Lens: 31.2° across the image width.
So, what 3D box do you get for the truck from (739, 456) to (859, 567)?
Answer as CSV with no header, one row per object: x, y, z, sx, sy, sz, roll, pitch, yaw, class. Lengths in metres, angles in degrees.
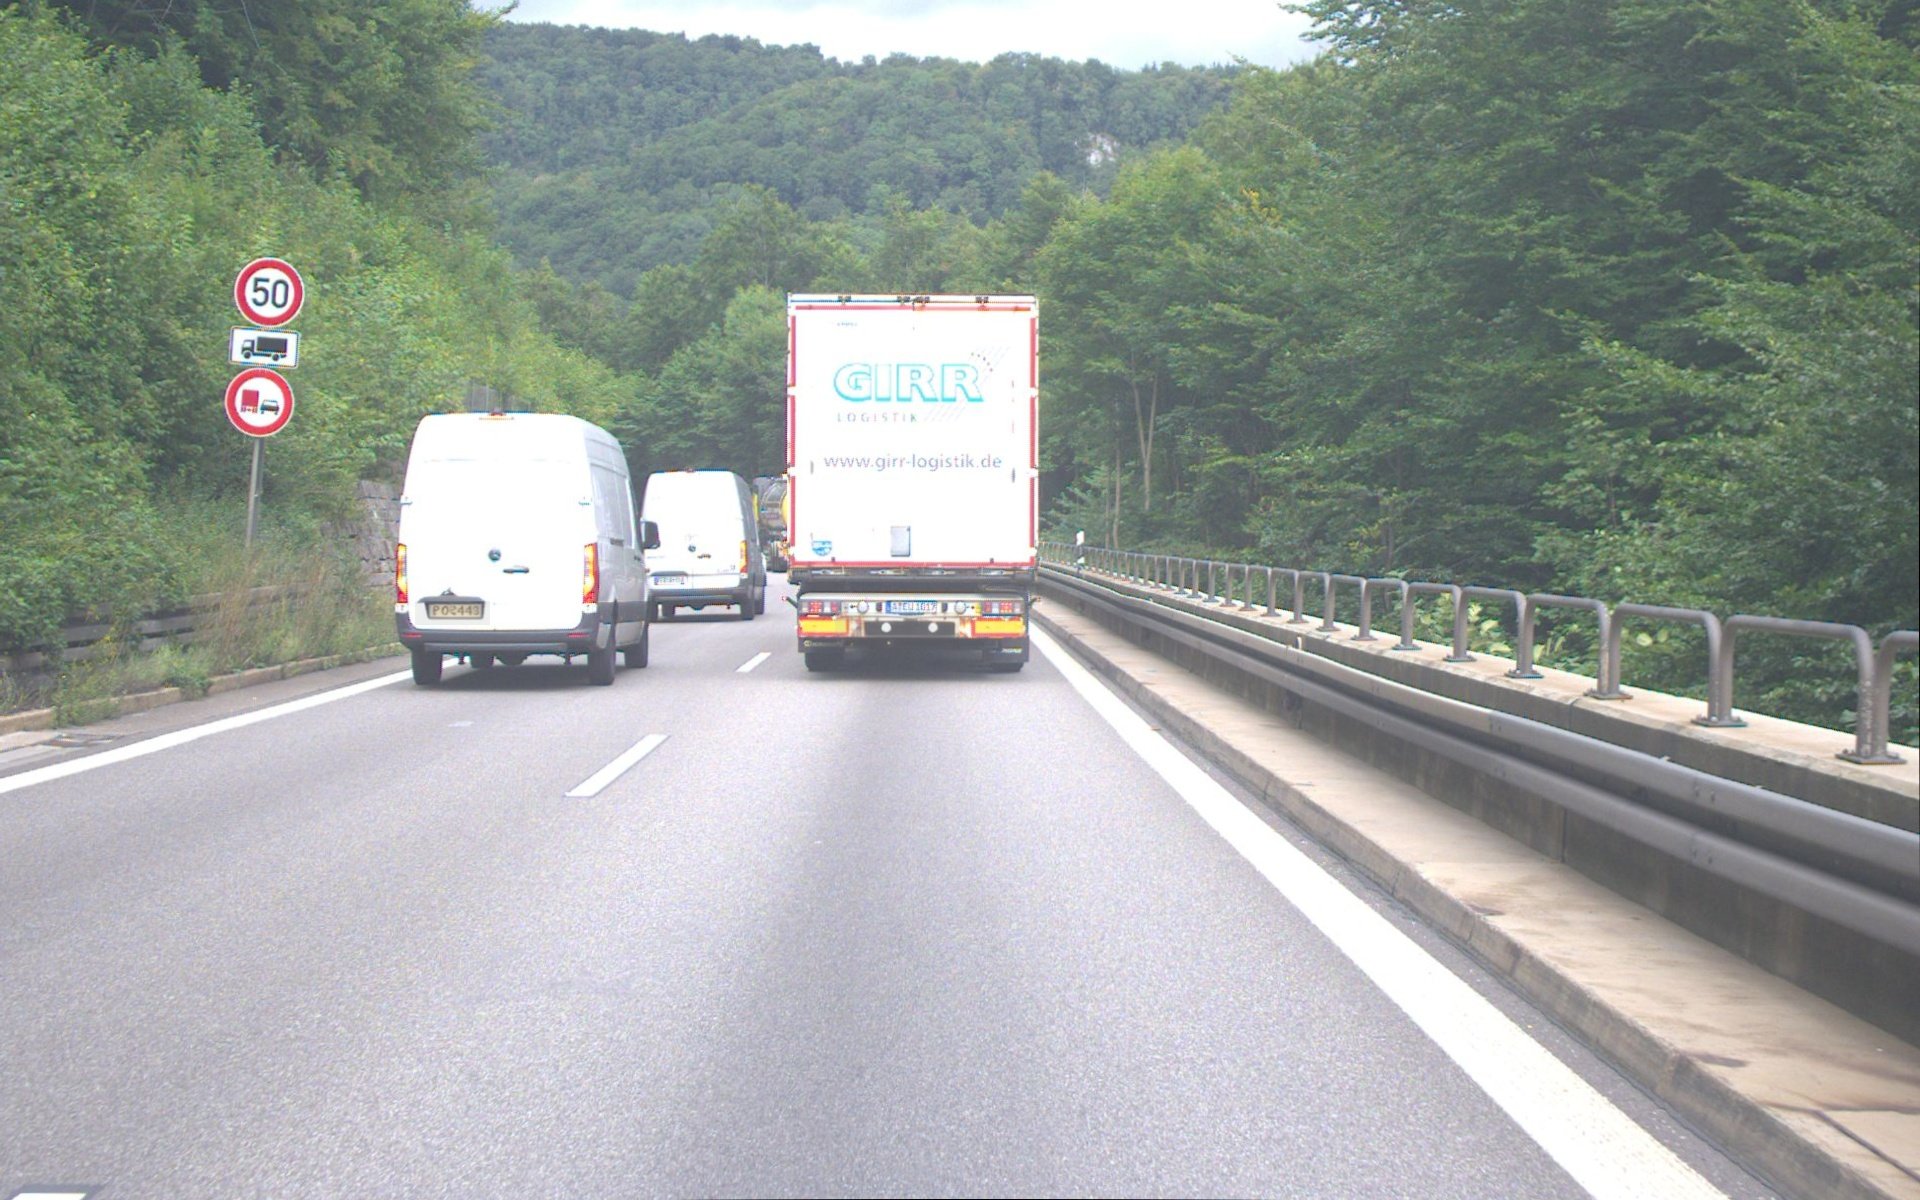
-6.338,-3.330,132.751,3.057,3.973,13.702,1,1,-9,truck

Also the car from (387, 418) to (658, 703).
-4.415,-0.447,35.760,1.989,2.663,6.937,0,1,-1,car

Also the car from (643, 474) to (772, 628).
-4.565,-0.920,62.861,1.939,2.663,5.992,0,1,0,car

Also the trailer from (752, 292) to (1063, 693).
-0.626,-1.331,40.667,3.057,3.972,12.138,1,2,-1,trailer
